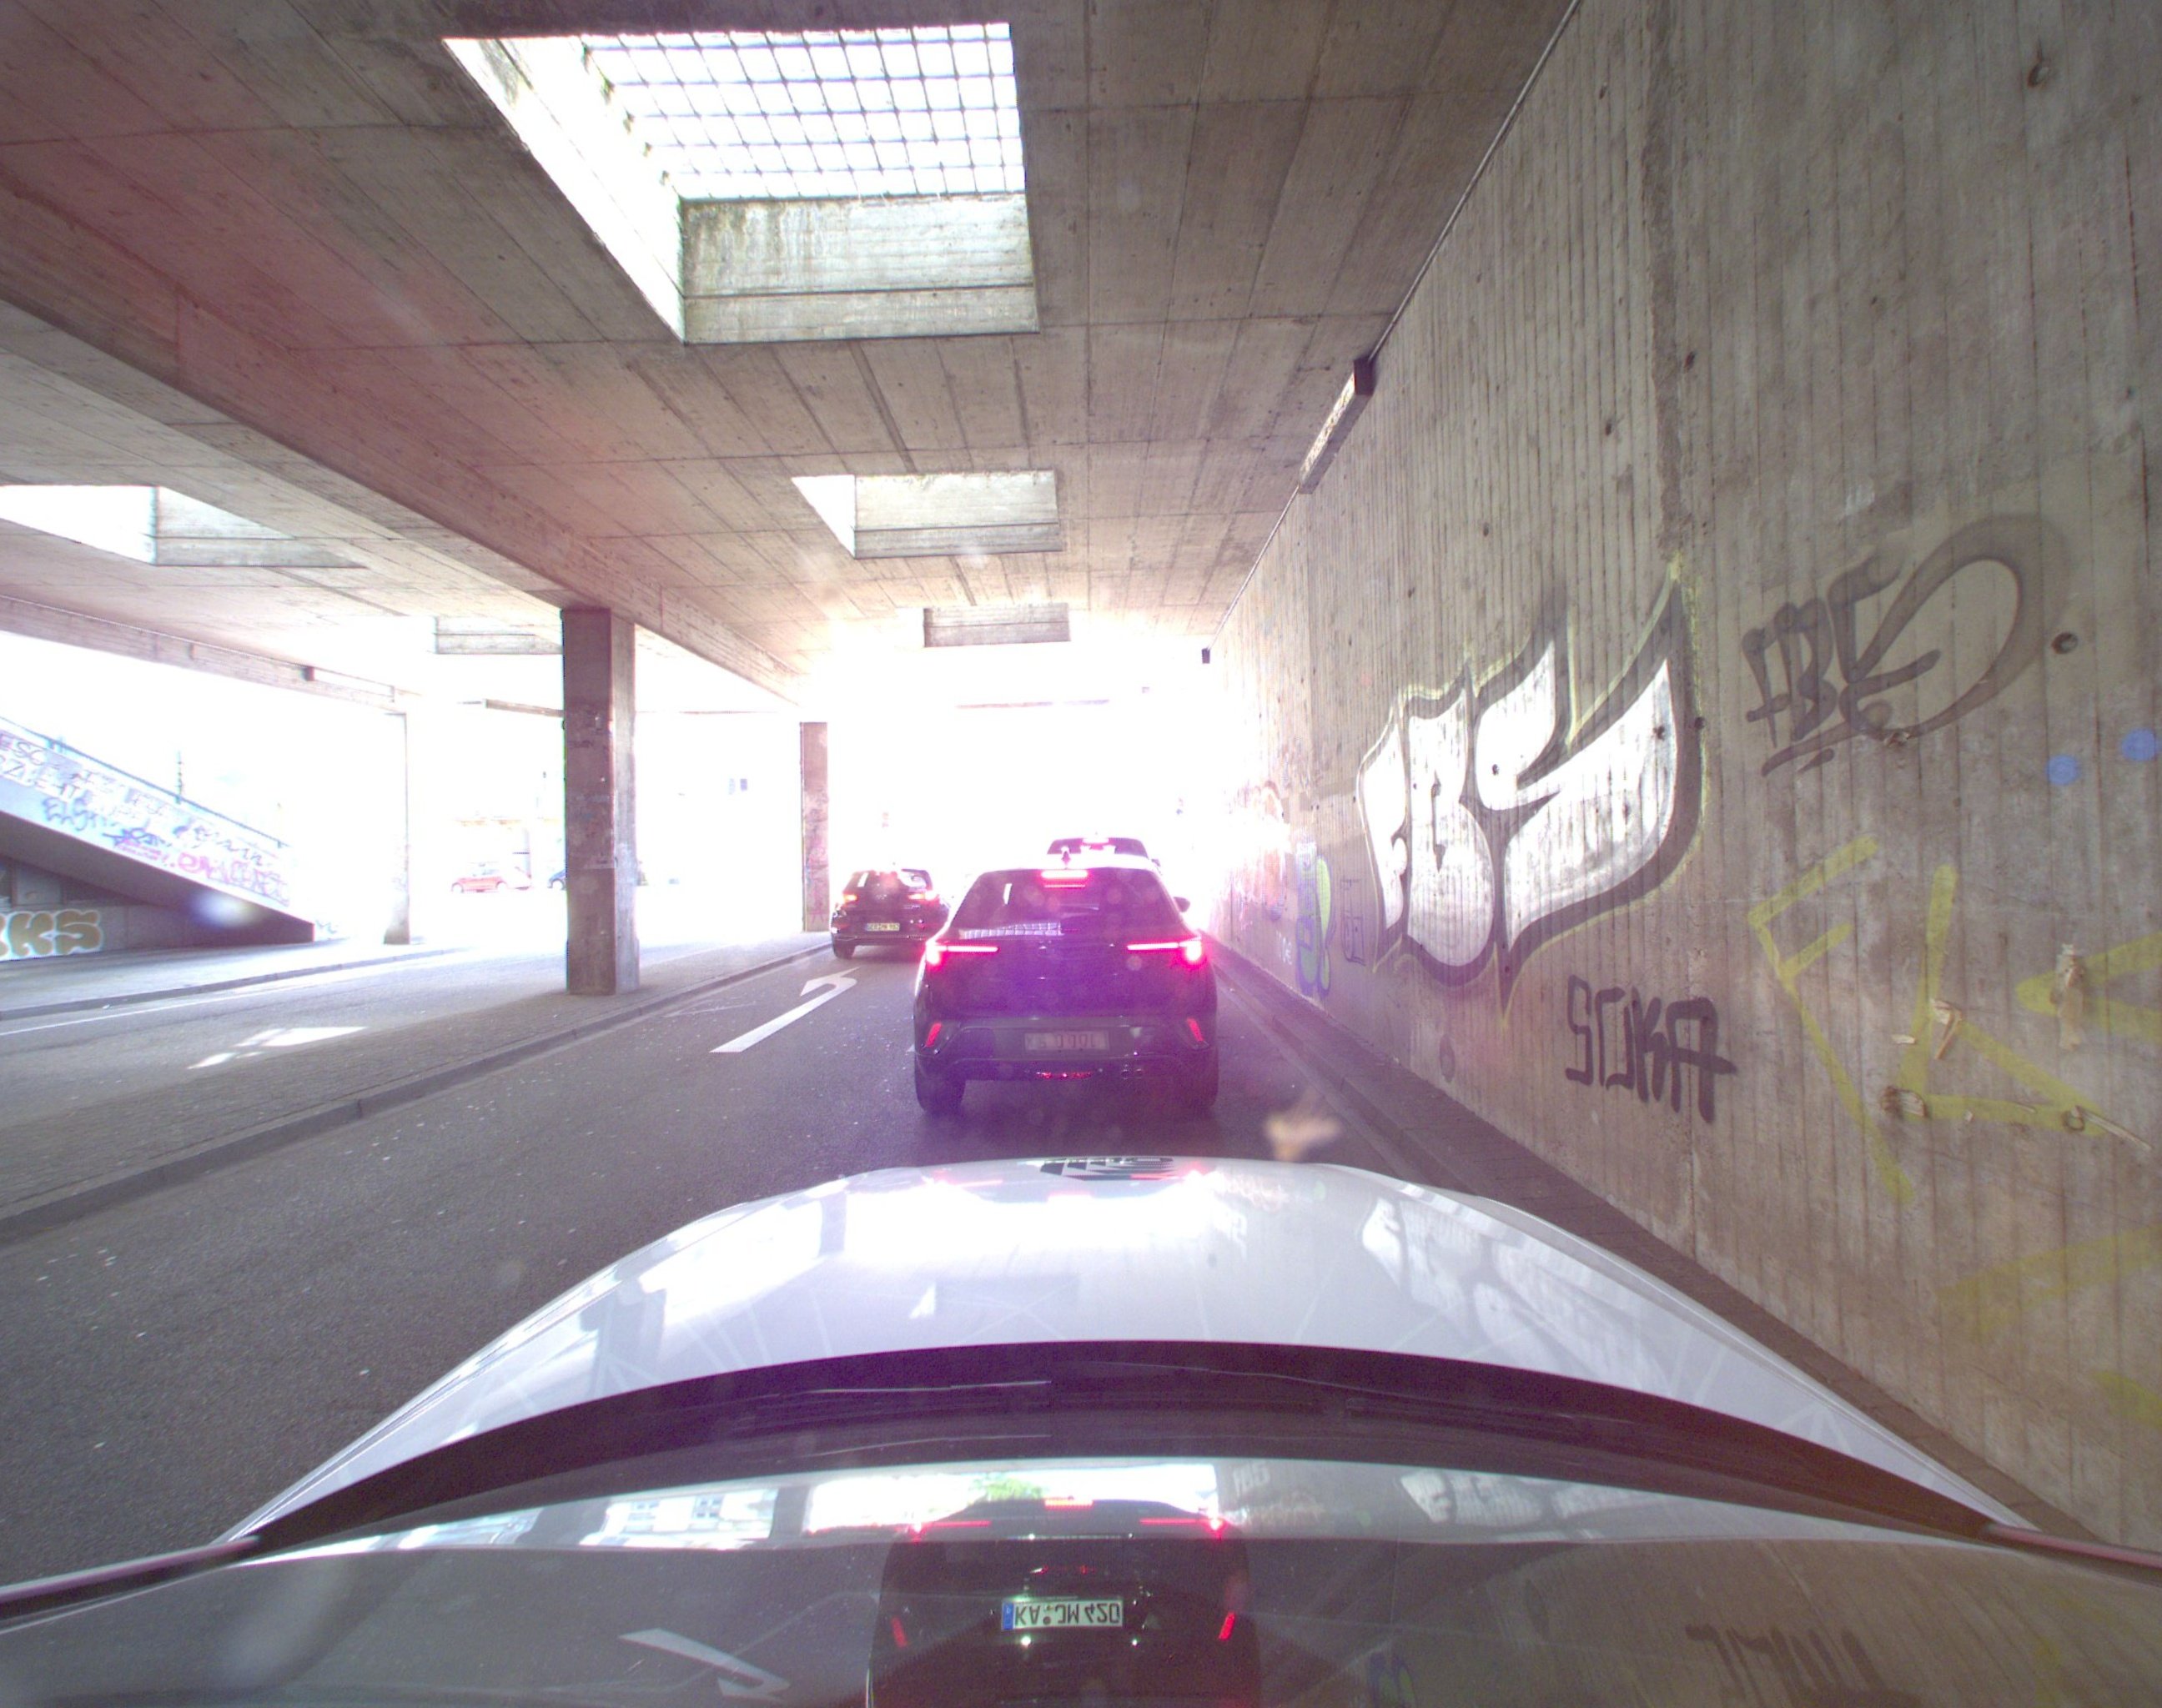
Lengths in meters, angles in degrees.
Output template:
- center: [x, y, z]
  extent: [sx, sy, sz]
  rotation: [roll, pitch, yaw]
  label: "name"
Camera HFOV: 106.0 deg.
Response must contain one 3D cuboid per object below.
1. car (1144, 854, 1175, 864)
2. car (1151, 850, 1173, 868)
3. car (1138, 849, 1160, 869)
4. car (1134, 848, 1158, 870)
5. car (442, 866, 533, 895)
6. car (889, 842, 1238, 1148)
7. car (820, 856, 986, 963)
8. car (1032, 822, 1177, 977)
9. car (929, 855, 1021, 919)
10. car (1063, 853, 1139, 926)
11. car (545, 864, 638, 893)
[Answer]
- center: [12.846, 0.852, 133.672]
  extent: [4.814, 1.667, 1.812]
  rotation: [0, -1, -19]
  label: "car"
- center: [7.751, 0.480, 77.582]
  extent: [1.742, 1.667, 3.956]
  rotation: [-1, -1, 11]
  label: "car"
- center: [5.757, 0.420, 68.340]
  extent: [1.745, 1.667, 3.950]
  rotation: [0, -1, 6]
  label: "car"
- center: [4.970, 0.376, 62.236]
  extent: [1.745, 1.667, 3.950]
  rotation: [0, -1, 6]
  label: "car"
- center: [-32.926, 1.464, 45.253]
  extent: [3.748, 1.475, 1.749]
  rotation: [-1, -1, 0]
  label: "car"
- center: [-0.026, 0.724, 6.209]
  extent: [1.755, 1.531, 4.091]
  rotation: [-1, 0, 2]
  label: "car"
- center: [-2.747, 0.800, 13.468]
  extent: [1.755, 1.480, 3.846]
  rotation: [-1, 0, 2]
  label: "car"
- center: [0.358, 0.565, 12.148]
  extent: [1.755, 1.883, 4.148]
  rotation: [-1, 0, 2]
  label: "car"
- center: [-2.658, 0.796, 21.196]
  extent: [1.755, 1.480, 3.846]
  rotation: [-1, 0, 2]
  label: "car"
- center: [0.495, 0.760, 19.367]
  extent: [1.603, 1.513, 4.055]
  rotation: [-1, 0, 2]
  label: "car"
- center: [-27.170, 1.338, 45.275]
  extent: [4.096, 1.475, 1.737]
  rotation: [-1, -1, 0]
  label: "car"
